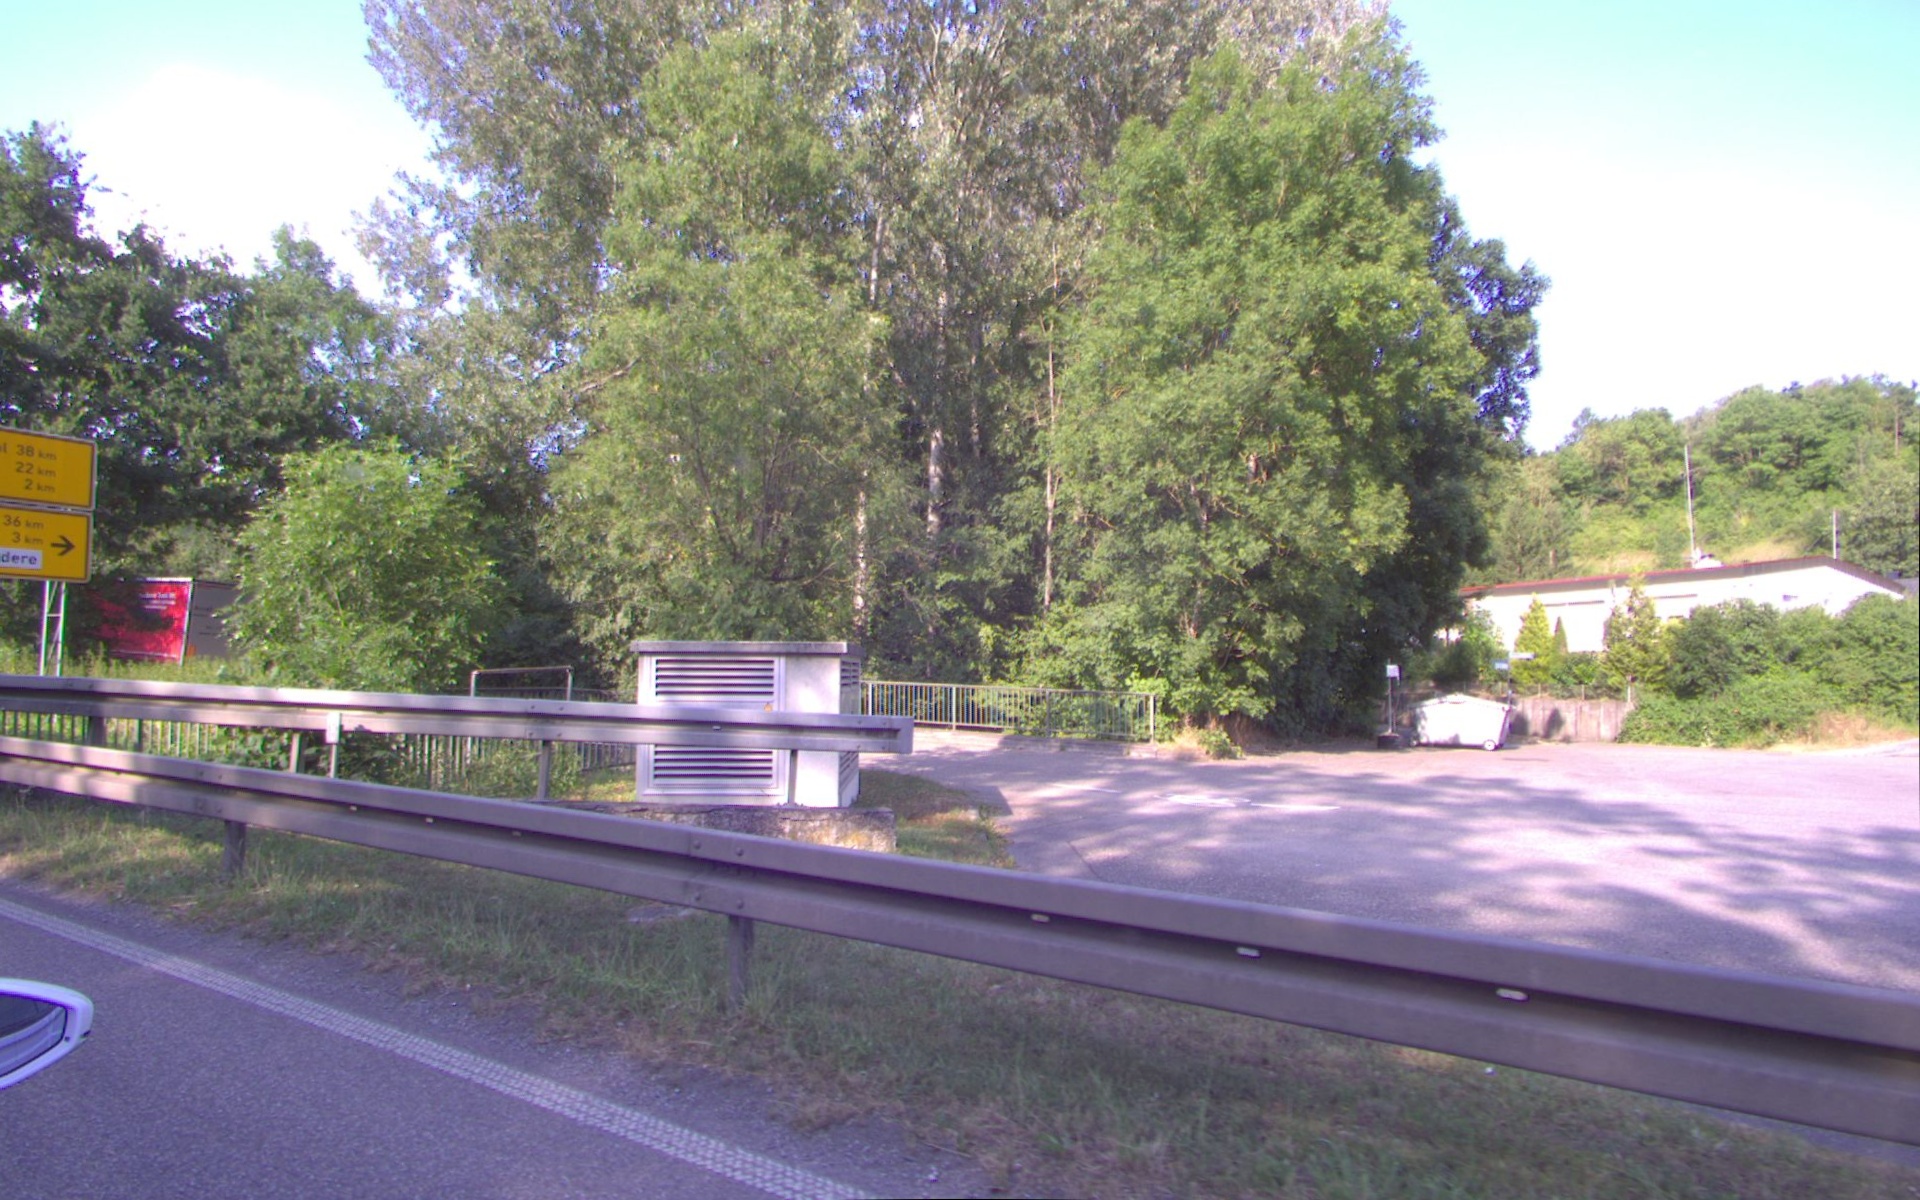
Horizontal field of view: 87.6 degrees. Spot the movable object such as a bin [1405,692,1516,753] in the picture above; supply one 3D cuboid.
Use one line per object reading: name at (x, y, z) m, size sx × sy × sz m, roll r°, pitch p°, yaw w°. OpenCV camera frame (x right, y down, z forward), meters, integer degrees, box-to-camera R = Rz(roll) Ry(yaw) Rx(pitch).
movable object such as a bin at (13.267, 3.223, 26.553) m, size 2.521 × 1.436 × 1.265 m, roll -1°, pitch -6°, yaw 32°
